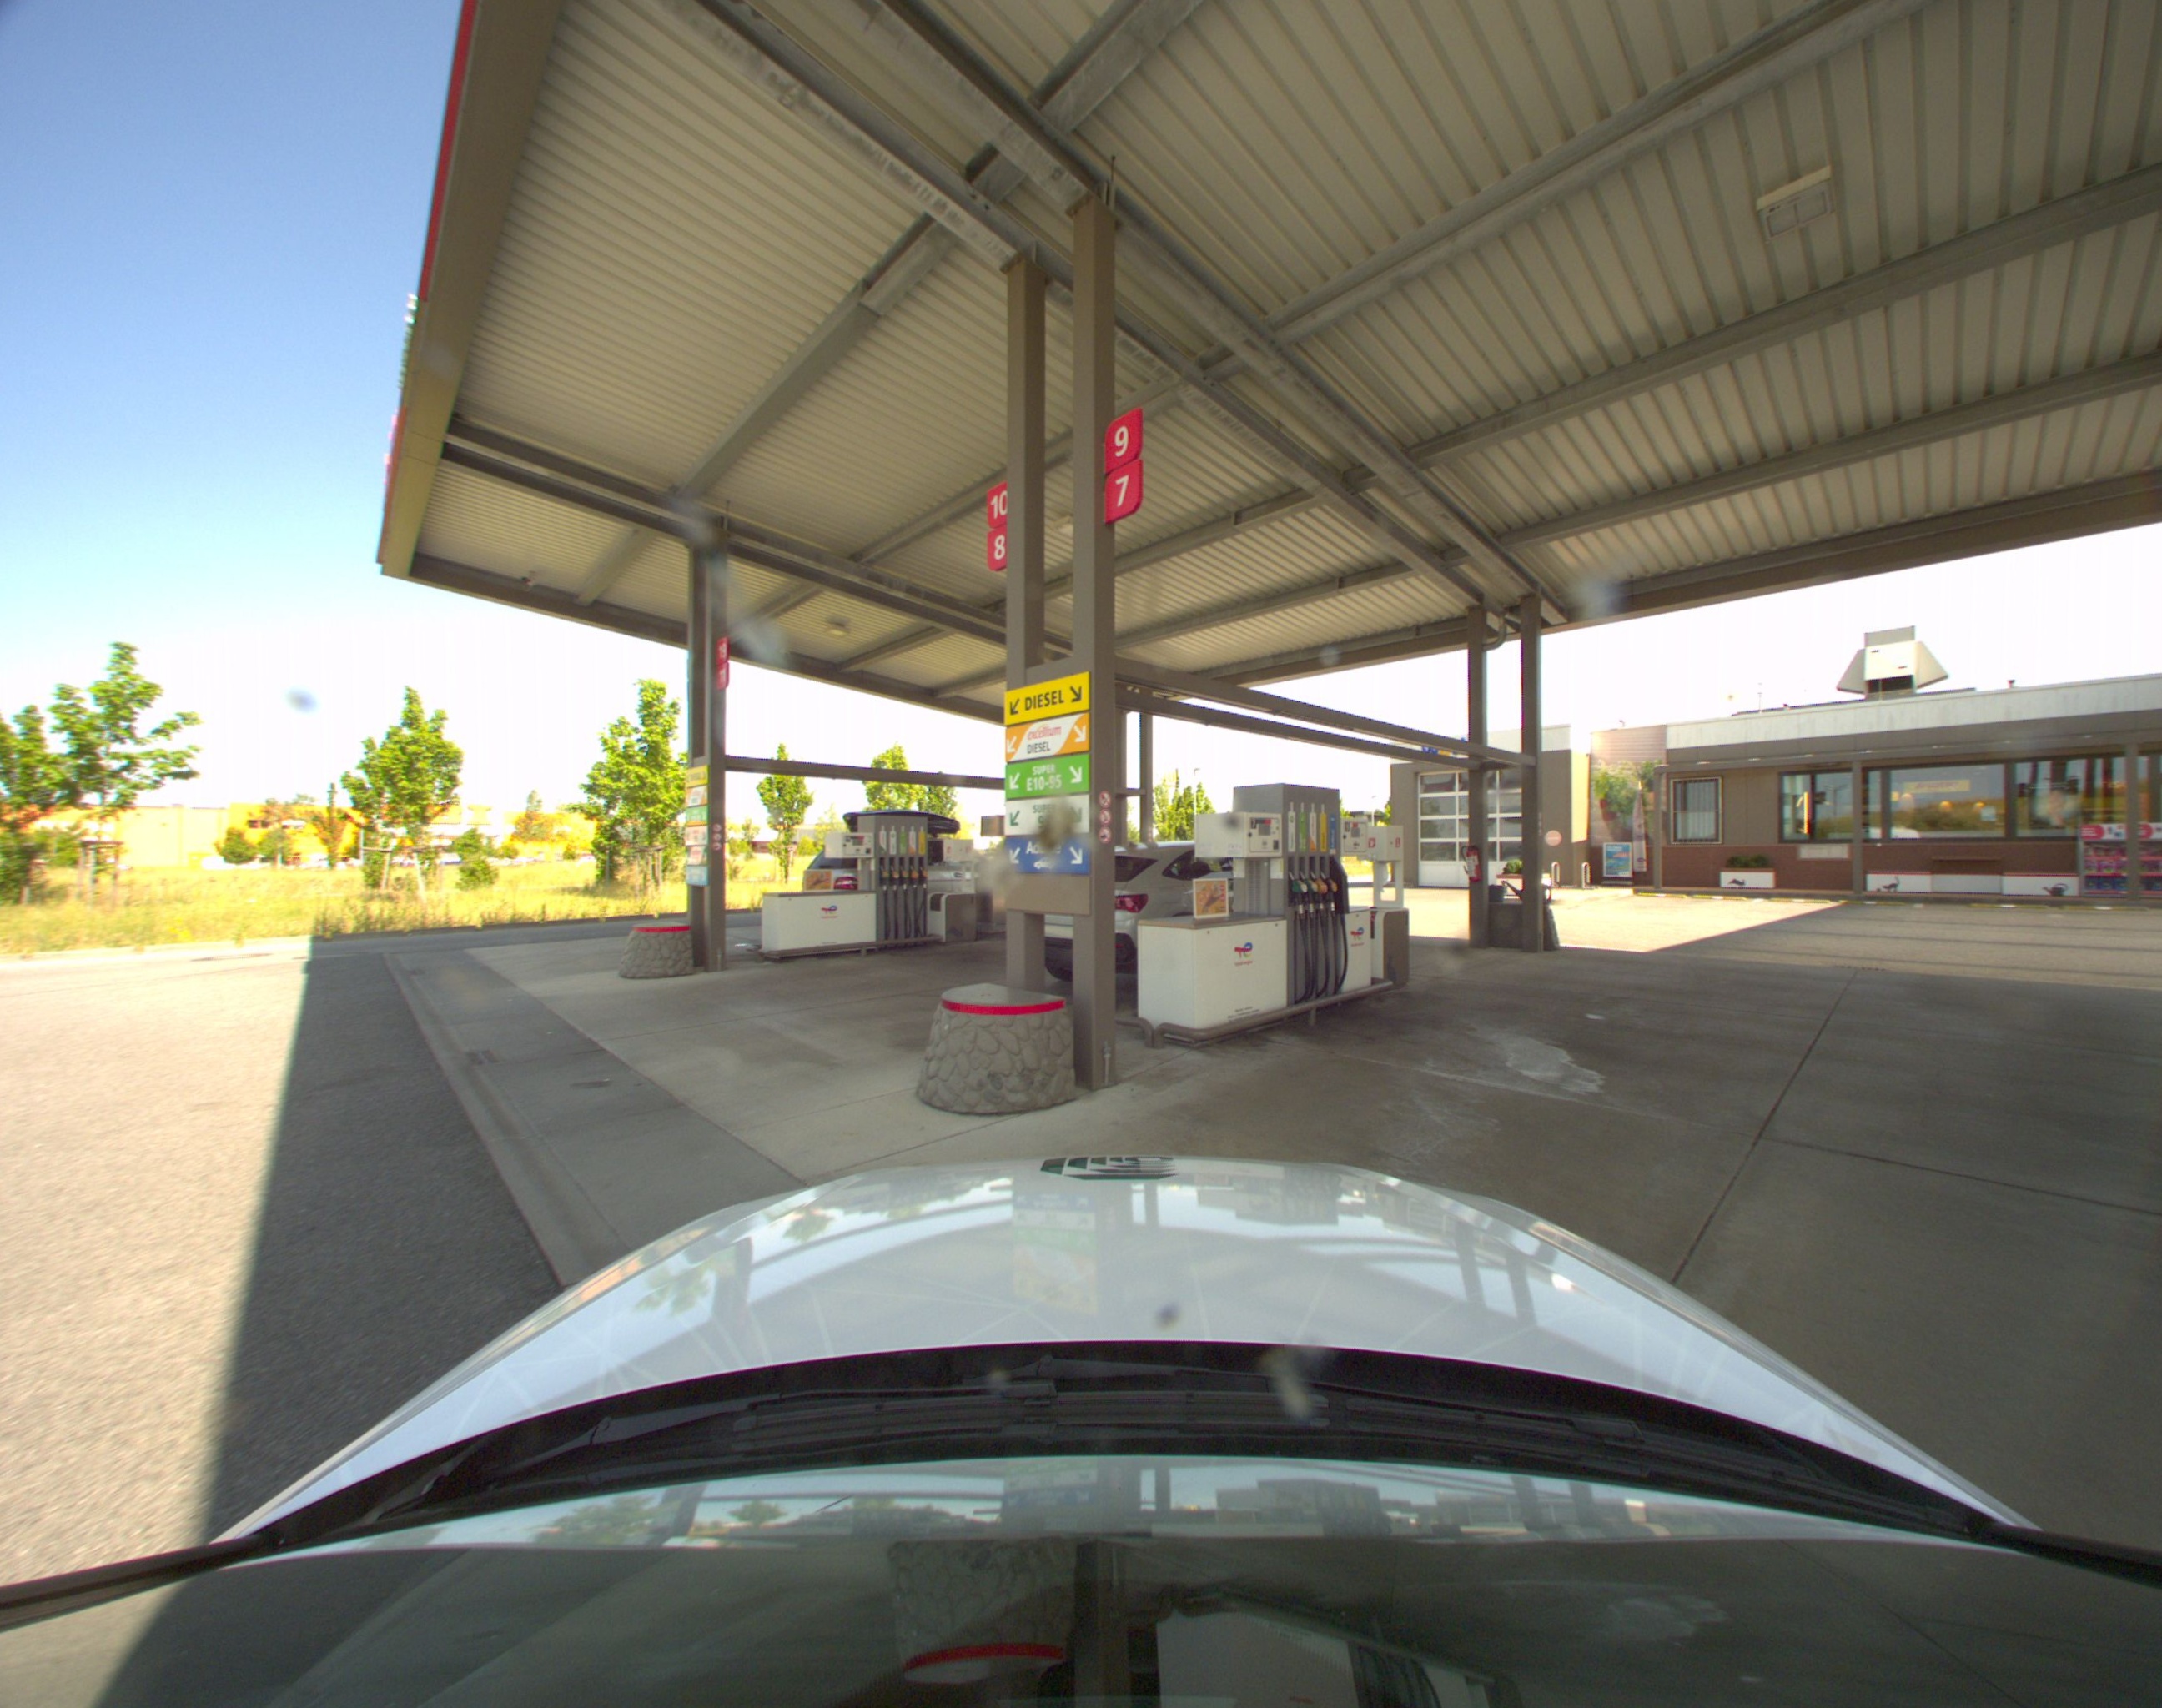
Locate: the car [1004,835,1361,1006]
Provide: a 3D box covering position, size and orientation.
[{"bbox_3d":[1.375,0.580,9.585,4.350,1.541,1.764,-2,1,-43],"label":"car"}]

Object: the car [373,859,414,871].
[{"bbox_3d":[-91.113,1.478,107.955,4.192,1.470,1.651,-2,0,-41],"label":"car"}]

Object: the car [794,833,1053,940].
[{"bbox_3d":[-2.807,0.483,15.351,1.842,1.687,4.563,-1,1,43],"label":"car"}]

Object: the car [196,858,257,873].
[{"bbox_3d":[-92.960,1.217,88.697,4.409,1.548,1.772,-2,0,-41],"label":"car"}]
